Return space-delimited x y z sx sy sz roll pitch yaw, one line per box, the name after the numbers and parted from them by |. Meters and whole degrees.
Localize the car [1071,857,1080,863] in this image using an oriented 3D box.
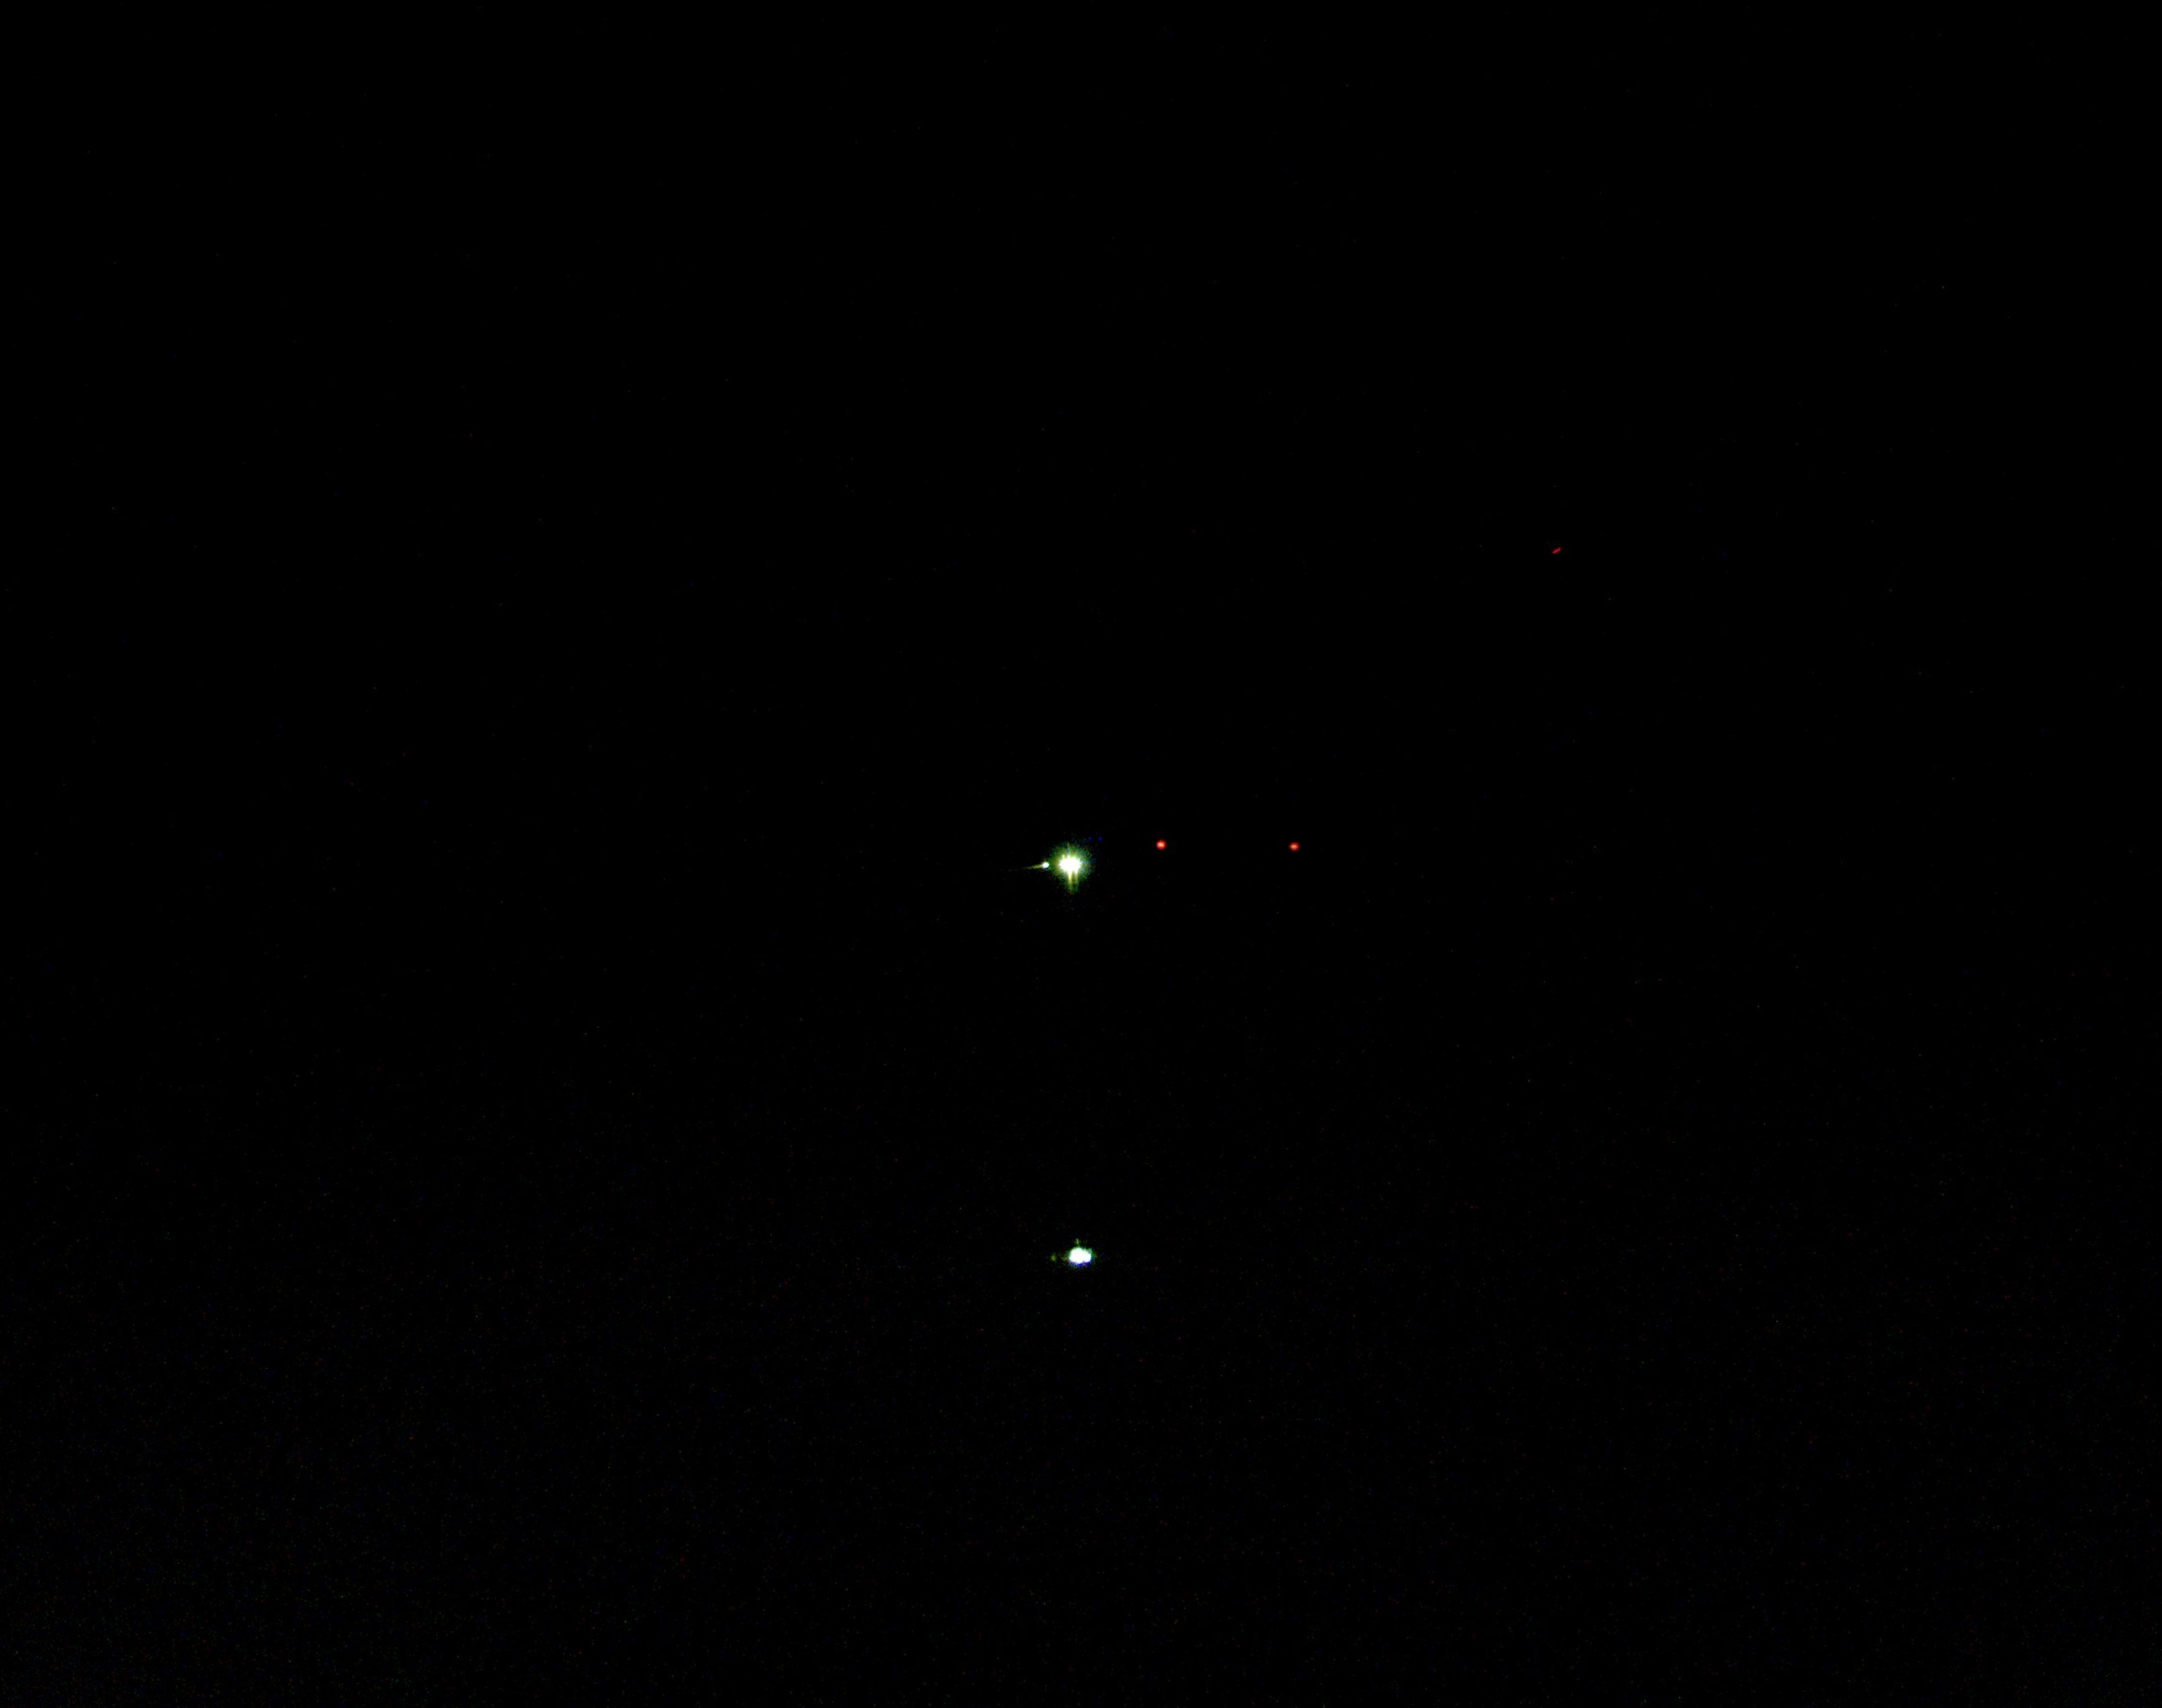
-1.286 1.423 179.600 1.846 1.474 4.293 -3 -1 0 | car
